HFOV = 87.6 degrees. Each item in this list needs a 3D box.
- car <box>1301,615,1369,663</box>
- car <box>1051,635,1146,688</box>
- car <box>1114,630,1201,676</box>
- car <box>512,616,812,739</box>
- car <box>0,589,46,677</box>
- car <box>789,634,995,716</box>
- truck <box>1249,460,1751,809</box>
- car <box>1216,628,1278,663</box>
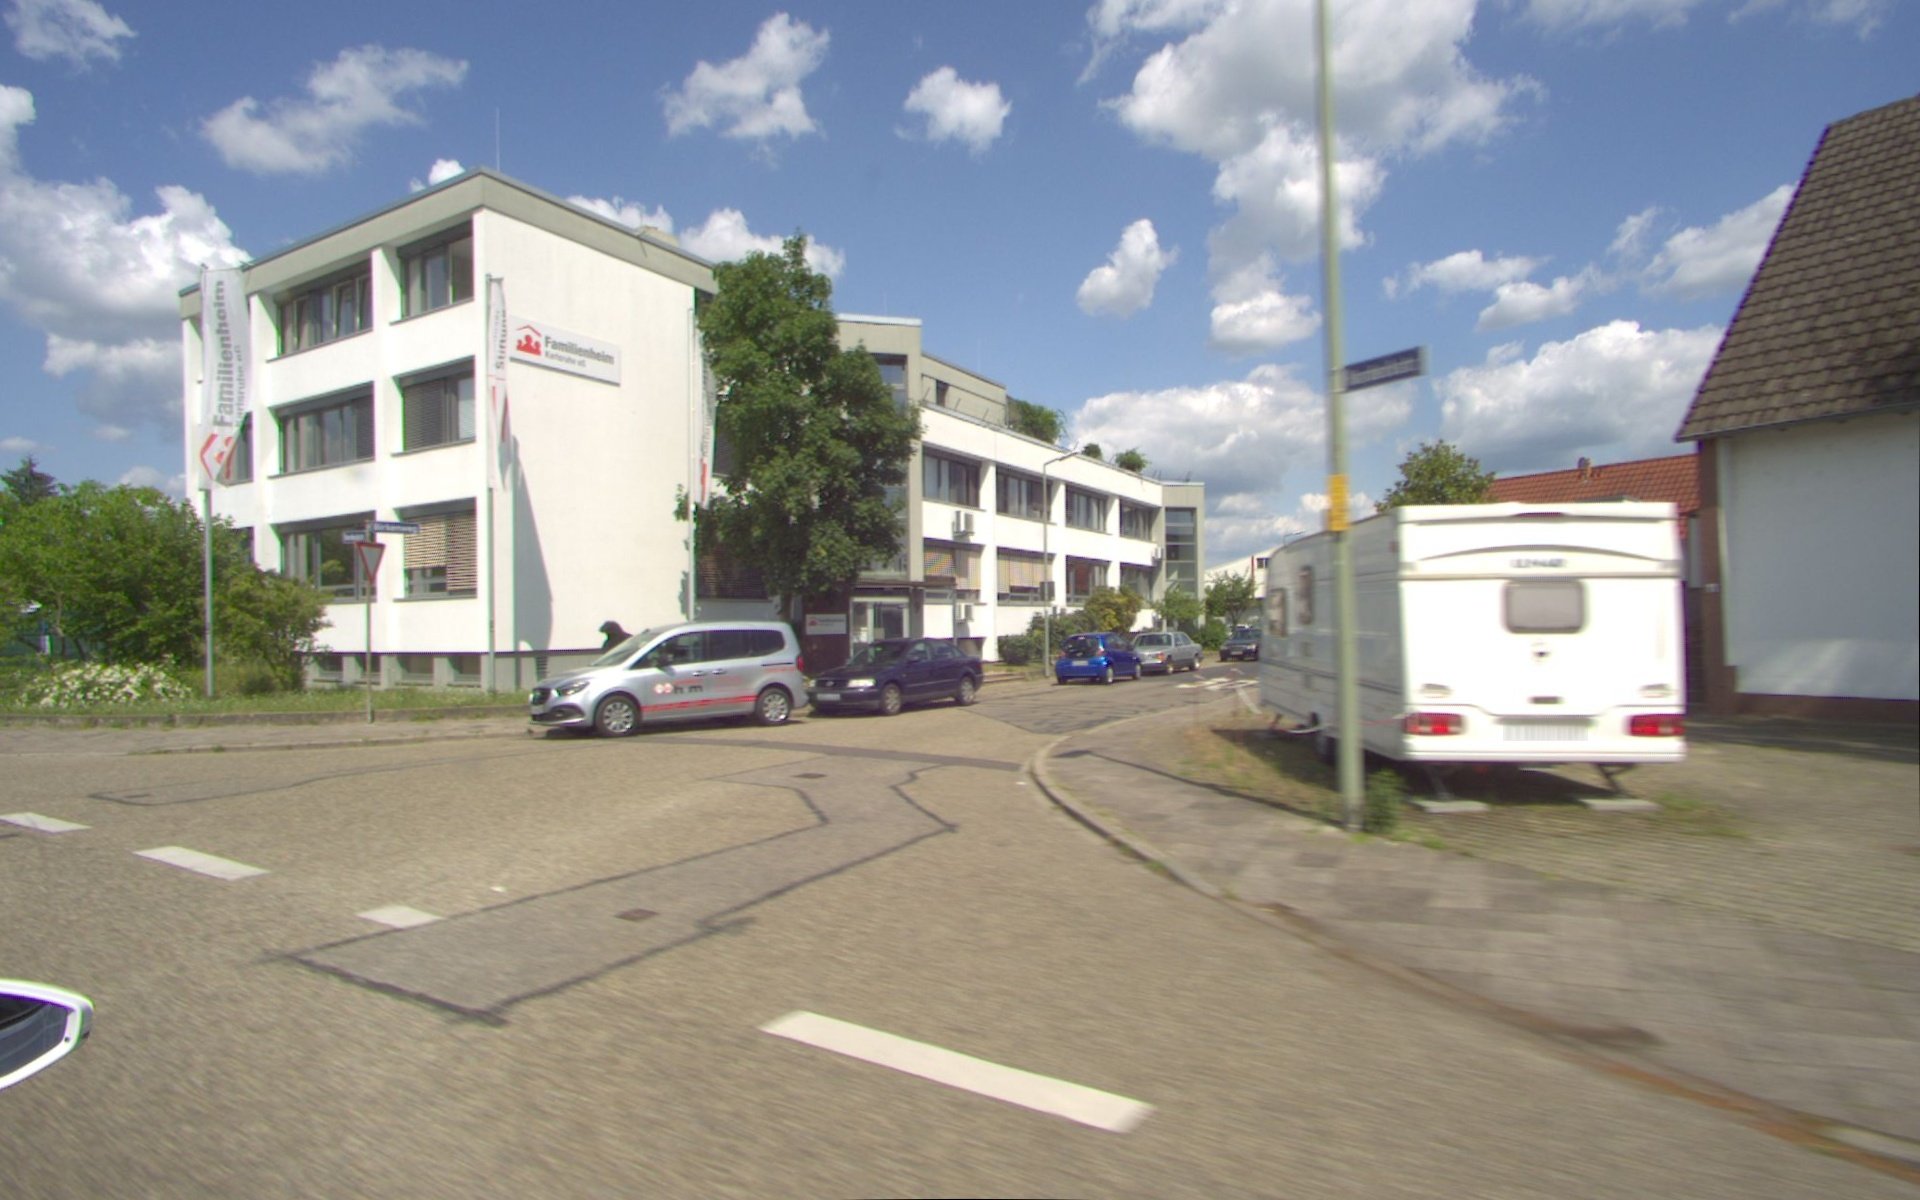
[{"bbox_3d":[16.293,1.667,43.442,1.971,1.947,3.980,1,0,32],"label":"car"},{"bbox_3d":[4.082,1.745,29.134,1.593,1.416,3.350,-1,-2,30],"label":"car"},{"bbox_3d":[6.669,1.735,33.535,1.593,1.416,4.236,-1,-2,30],"label":"car"},{"bbox_3d":[-4.826,1.204,16.545,4.361,1.773,1.851,1,-4,-40],"label":"car"},{"bbox_3d":[-30.995,1.007,30.029,2.039,2.686,4.909,-1,-2,24],"label":"car"},{"bbox_3d":[-1.234,1.454,20.353,1.735,1.445,4.603,-3,-3,33],"label":"car"},{"bbox_3d":[4.944,0.373,10.638,2.516,2.610,6.062,0,-2,6],"label":"truck"},{"bbox_3d":[12.491,1.943,43.405,1.593,1.416,4.236,-1,-2,30],"label":"car"}]
